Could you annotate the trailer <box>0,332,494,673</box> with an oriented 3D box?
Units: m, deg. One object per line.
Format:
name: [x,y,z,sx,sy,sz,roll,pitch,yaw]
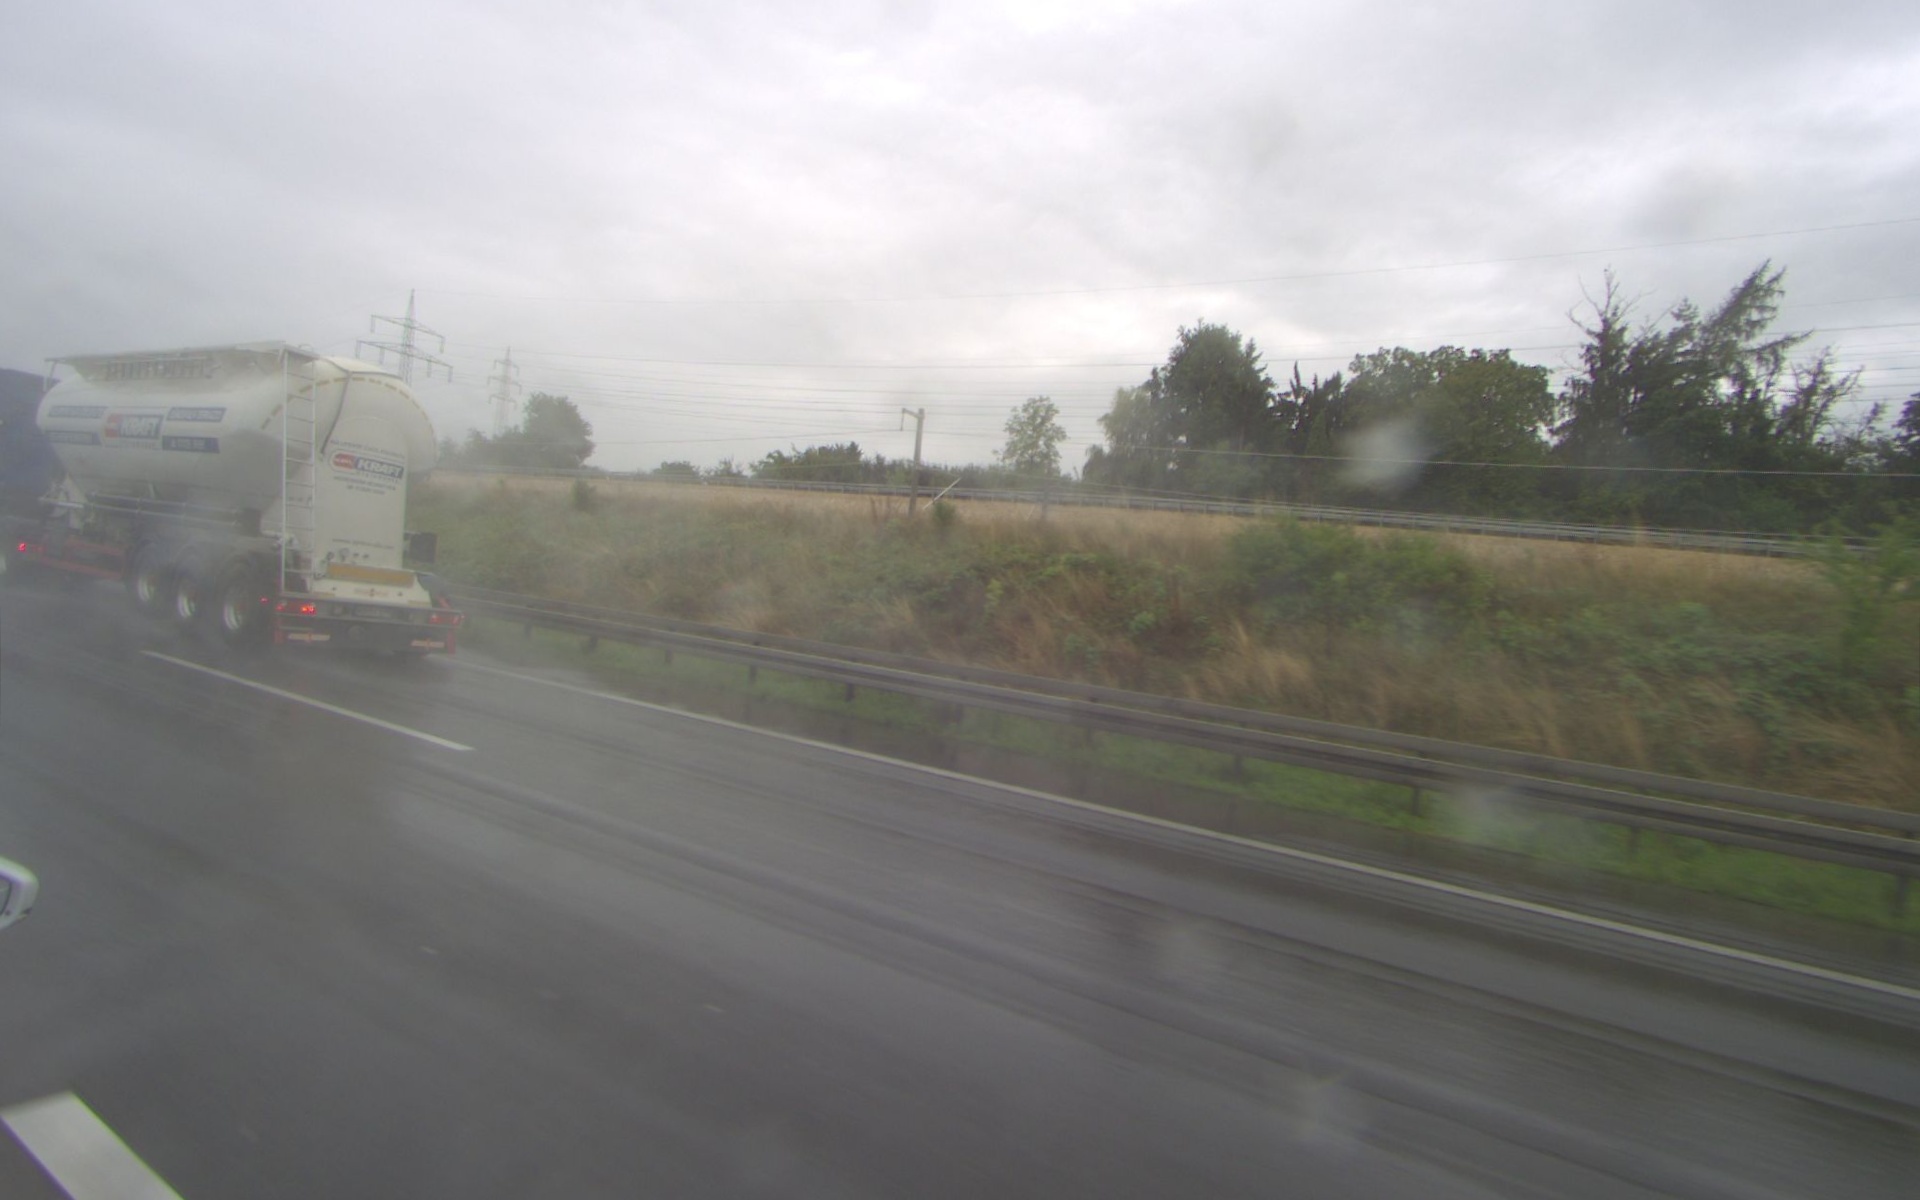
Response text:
trailer: [-11.935,-1.651,15.620,10.880,3.928,2.502,7,-1,31]

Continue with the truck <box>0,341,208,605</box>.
truck: [-16.675,-2.301,18.502,4.990,4.031,2.501,7,-1,31]
